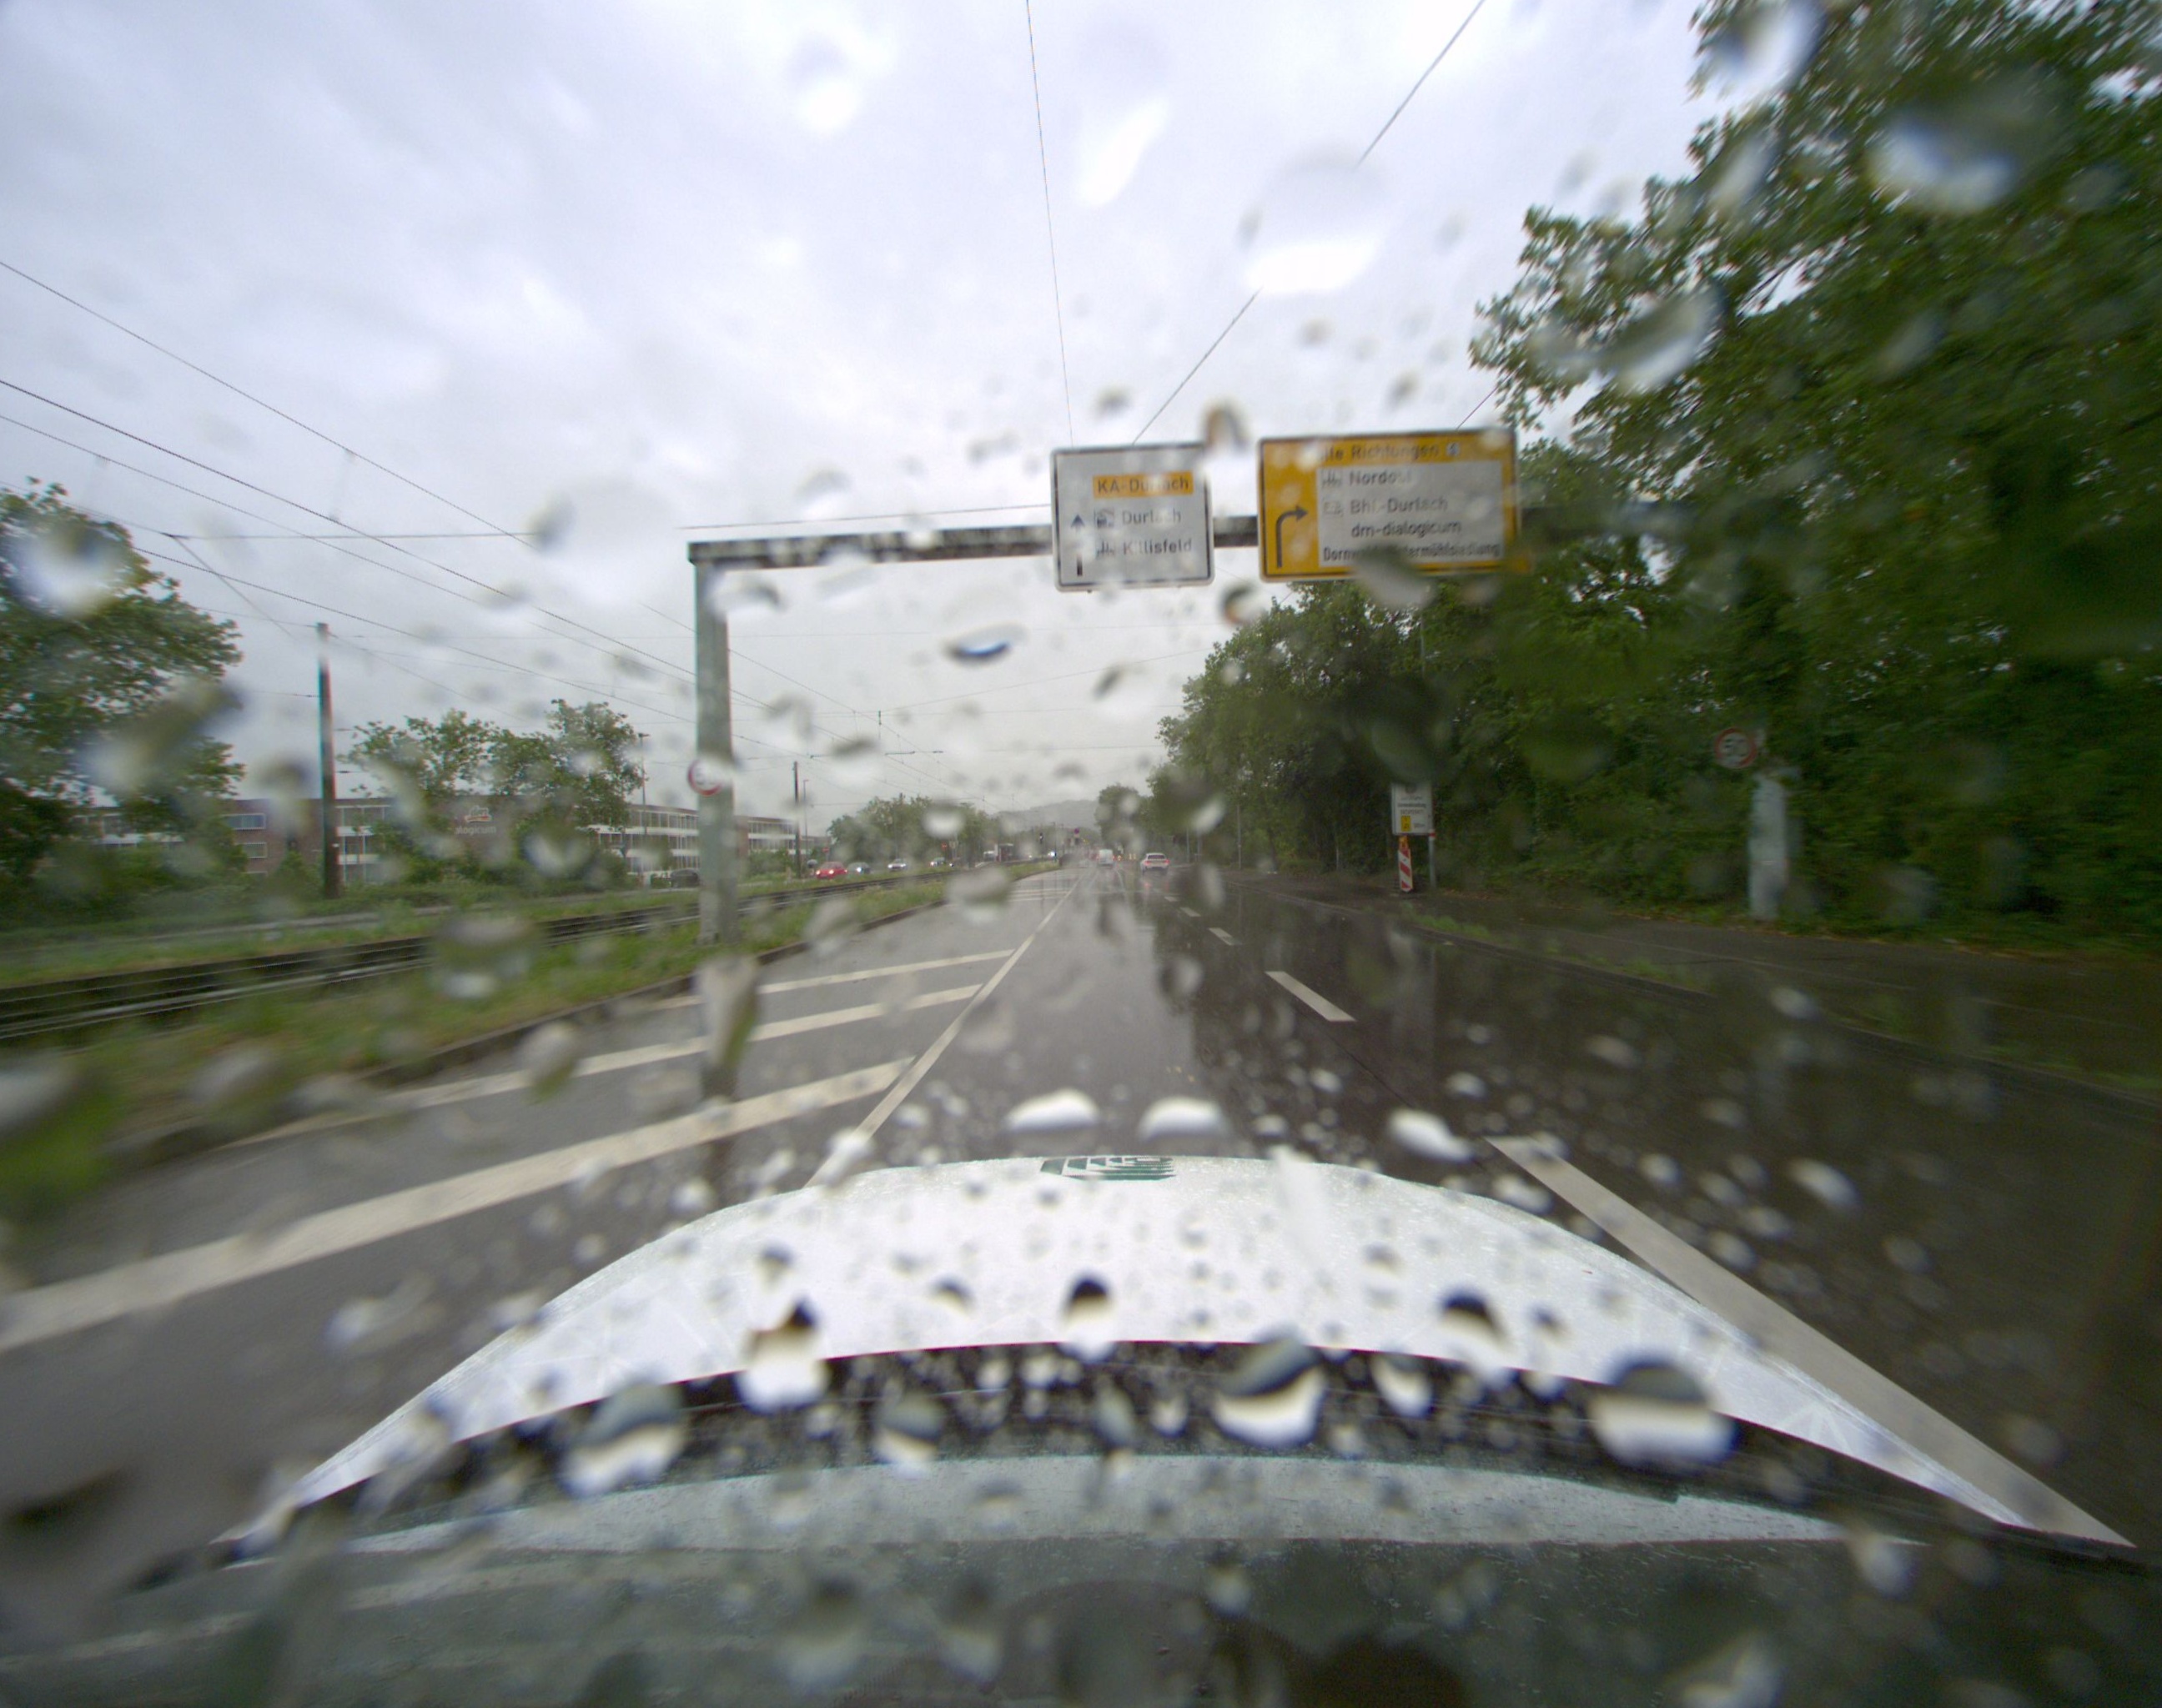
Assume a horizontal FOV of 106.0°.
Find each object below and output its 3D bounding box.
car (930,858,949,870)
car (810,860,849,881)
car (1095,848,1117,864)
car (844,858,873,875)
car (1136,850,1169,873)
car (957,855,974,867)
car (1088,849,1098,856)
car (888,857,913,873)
[{"bbox_3d":[-18.956,1.262,109.407,1.714,1.494,4.001,-2,0,1],"label":"car"},{"bbox_3d":[-19.646,1.248,63.824,1.714,1.494,4.001,-2,0,1],"label":"car"},{"bbox_3d":[2.468,0.171,79.416,2.070,1.420,4.002,-2,0,2],"label":"car"},{"bbox_3d":[-22.417,1.247,82.040,1.714,1.494,4.001,-2,0,1],"label":"car"},{"bbox_3d":[5.029,0.528,57.791,1.941,1.536,4.467,-1,0,1],"label":"car"},{"bbox_3d":[-16.096,0.928,113.562,1.714,1.494,4.001,-2,0,1],"label":"car"},{"bbox_3d":[2.593,-0.278,176.932,1.986,1.547,4.001,0,0,1],"label":"car"},{"bbox_3d":[-19.143,1.144,86.517,1.714,1.494,4.001,-2,0,1],"label":"car"}]
